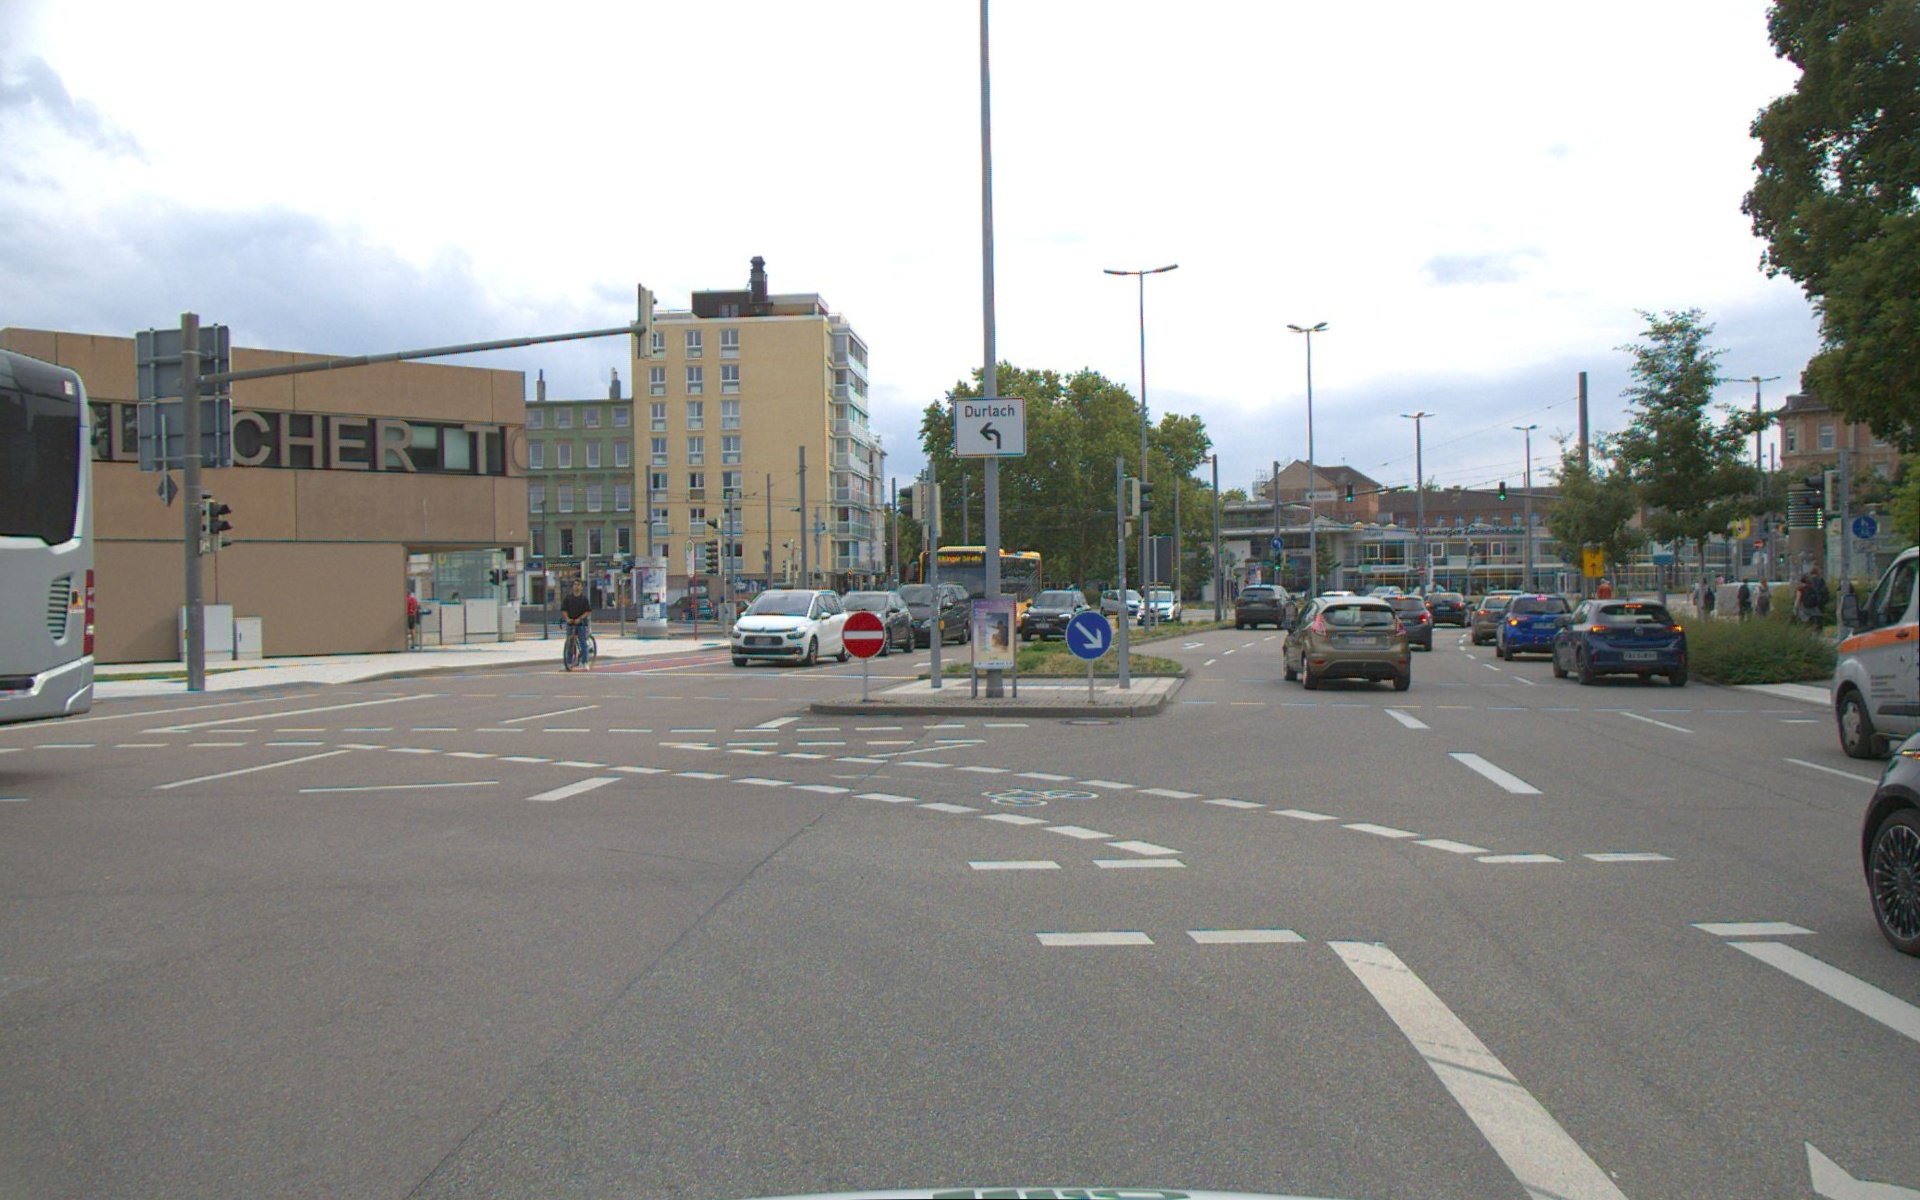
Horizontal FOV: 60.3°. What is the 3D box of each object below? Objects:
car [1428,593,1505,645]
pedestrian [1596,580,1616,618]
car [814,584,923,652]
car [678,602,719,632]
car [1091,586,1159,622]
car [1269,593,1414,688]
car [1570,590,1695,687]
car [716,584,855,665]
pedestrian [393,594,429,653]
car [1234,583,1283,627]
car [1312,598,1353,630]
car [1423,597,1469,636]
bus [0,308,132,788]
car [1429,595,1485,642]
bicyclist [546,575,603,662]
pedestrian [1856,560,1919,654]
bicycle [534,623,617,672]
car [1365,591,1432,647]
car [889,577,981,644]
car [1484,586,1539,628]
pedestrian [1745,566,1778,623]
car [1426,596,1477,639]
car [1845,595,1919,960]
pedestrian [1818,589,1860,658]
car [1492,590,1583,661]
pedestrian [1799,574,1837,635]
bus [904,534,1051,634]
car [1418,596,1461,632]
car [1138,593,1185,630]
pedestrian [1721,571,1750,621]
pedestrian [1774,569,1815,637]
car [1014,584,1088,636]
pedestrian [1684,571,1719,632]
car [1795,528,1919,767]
[{"bbox_3d":[15.115,0.558,49.516,2.087,1.445,3.703,1,0,16],"label":"car"},{"bbox_3d":[28.079,-0.056,71.911,0.762,1.601,0.812,-2,0,22],"label":"pedestrian"},{"bbox_3d":[-2.376,0.466,44.076,1.951,1.680,4.294,1,0,10],"label":"car"},{"bbox_3d":[-18.919,1.213,119.672,1.951,2.049,4.002,1,0,5],"label":"car"},{"bbox_3d":[9.650,0.222,97.211,1.975,2.049,3.955,1,0,-33],"label":"car"},{"bbox_3d":[6.165,0.626,27.095,1.660,1.429,3.701,1,0,2],"label":"car"},{"bbox_3d":[11.561,0.627,28.616,1.631,1.534,3.636,1,0,17],"label":"car"},{"bbox_3d":[-3.805,0.522,36.853,1.951,1.680,4.294,1,0,10],"label":"car"},{"bbox_3d":[-16.662,0.711,50.178,0.803,1.763,0.771,-2,0,-35],"label":"pedestrian"},{"bbox_3d":[11.420,0.192,63.349,1.795,1.643,3.549,1,0,10],"label":"car"},{"bbox_3d":[17.547,0.653,77.859,1.674,1.445,4.002,1,0,16],"label":"car"},{"bbox_3d":[18.949,0.645,64.524,1.674,1.445,3.350,1,0,16],"label":"car"},{"bbox_3d":[-13.819,-0.123,13.024,13.836,3.498,2.716,-2,0,8],"label":"bus"},{"bbox_3d":[16.119,0.581,53.799,1.674,1.445,4.002,1,0,16],"label":"car"},{"bbox_3d":[-7.667,0.363,32.911,0.848,1.698,0.881,1,0,5],"label":"bicyclist"},{"bbox_3d":[17.777,0.132,31.591,0.762,1.741,1.028,1,0,-1],"label":"pedestrian"},{"bbox_3d":[-7.656,0.935,33.054,0.844,0.892,2.520,1,0,5],"label":"bicycle"},{"bbox_3d":[12.054,0.504,45.364,1.674,1.445,4.002,1,0,16],"label":"car"},{"bbox_3d":[-0.705,0.308,49.975,1.951,1.932,4.294,1,0,10],"label":"car"},{"bbox_3d":[19.806,0.243,59.503,1.667,1.445,3.703,1,0,16],"label":"car"},{"bbox_3d":[23.150,-0.152,47.776,0.762,1.601,0.812,-2,0,22],"label":"pedestrian"},{"bbox_3d":[17.536,0.613,59.089,1.674,1.445,4.002,1,0,16],"label":"car"},{"bbox_3d":[4.761,0.737,5.748,1.631,1.515,3.442,0,0,2],"label":"car"},{"bbox_3d":[21.128,0.559,39.765,0.762,1.601,0.812,-2,0,22],"label":"pedestrian"},{"bbox_3d":[13.553,0.569,38.996,1.818,1.559,4.004,1,0,16],"label":"car"},{"bbox_3d":[23.001,0.108,44.342,0.762,1.601,0.812,-2,0,22],"label":"pedestrian"},{"bbox_3d":[0.904,-0.509,60.964,3.080,3.312,12.424,1,0,11],"label":"bus"},{"bbox_3d":[19.982,0.582,68.959,1.674,1.445,4.002,1,0,16],"label":"car"},{"bbox_3d":[9.576,0.556,78.283,1.951,1.680,4.516,1,0,10],"label":"car"},{"bbox_3d":[25.537,-0.129,54.457,0.762,1.601,0.812,-2,0,22],"label":"pedestrian"},{"bbox_3d":[19.991,0.068,39.640,0.762,1.601,0.812,-2,0,22],"label":"pedestrian"},{"bbox_3d":[3.144,0.334,56.175,1.951,1.680,4.516,1,0,10],"label":"car"},{"bbox_3d":[19.956,0.030,44.532,0.762,1.601,0.812,-2,0,22],"label":"pedestrian"},{"bbox_3d":[8.891,0.407,13.616,1.781,1.994,5.208,1,0,5],"label":"car"}]
